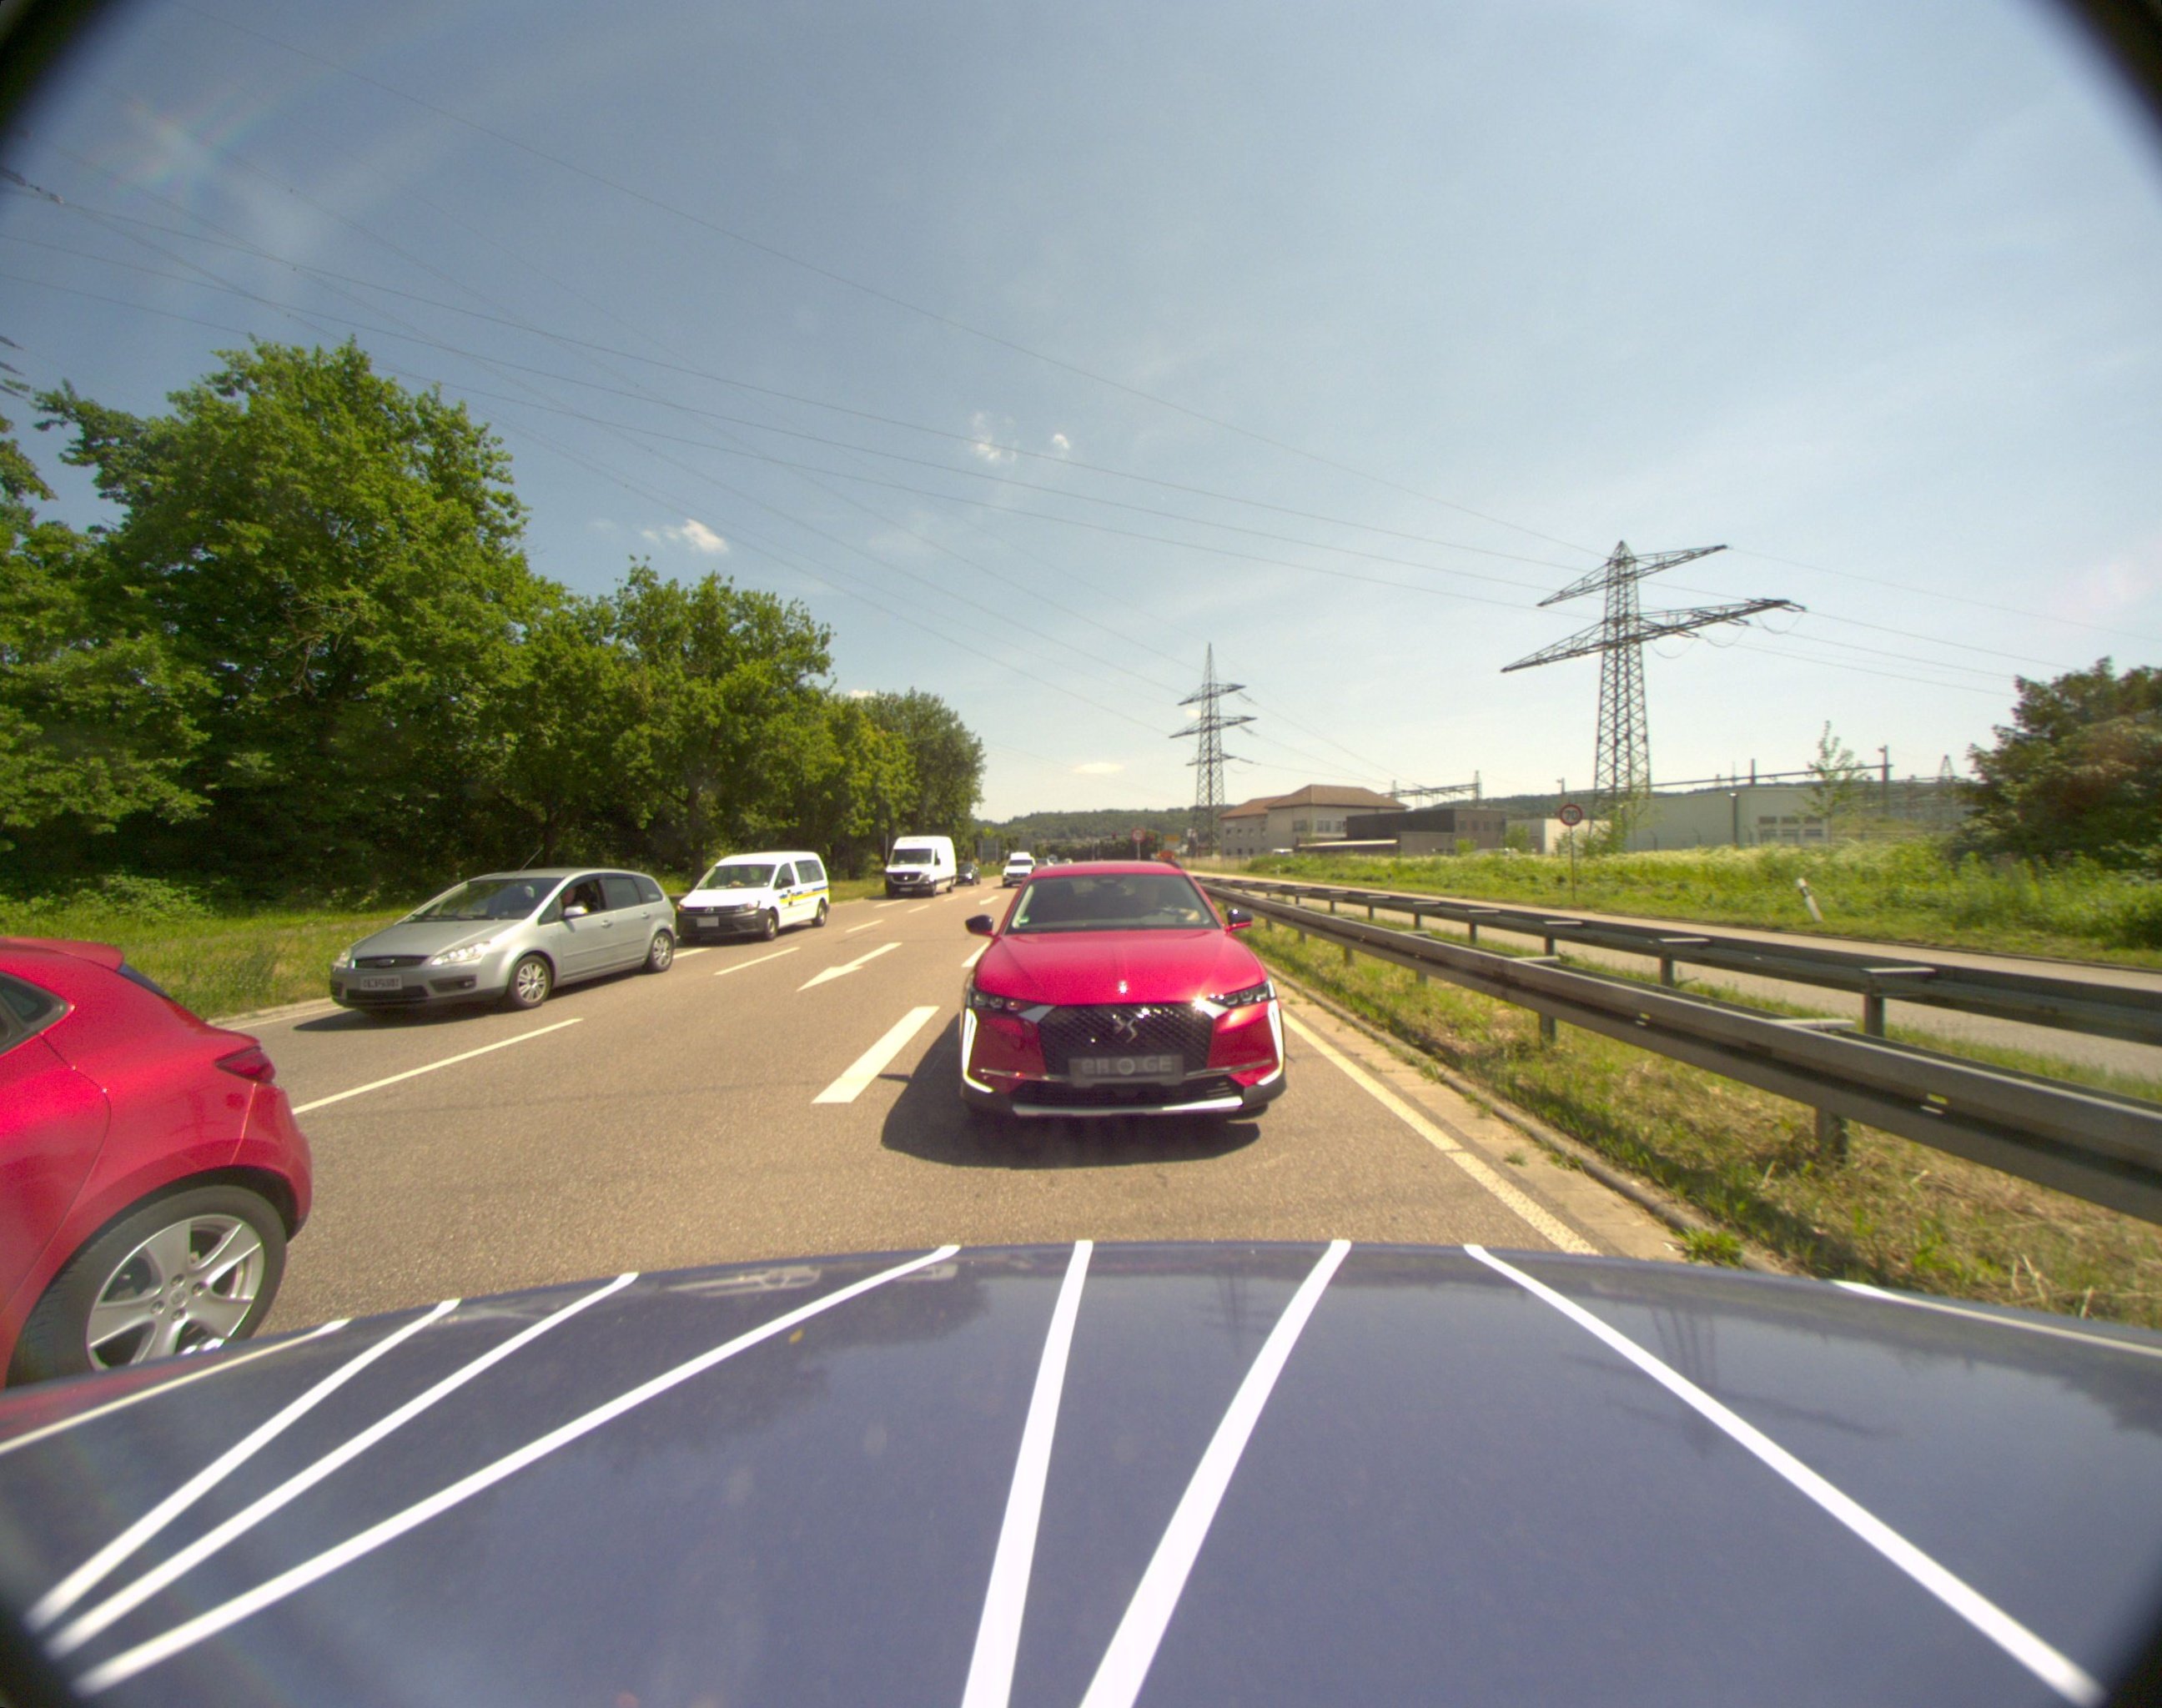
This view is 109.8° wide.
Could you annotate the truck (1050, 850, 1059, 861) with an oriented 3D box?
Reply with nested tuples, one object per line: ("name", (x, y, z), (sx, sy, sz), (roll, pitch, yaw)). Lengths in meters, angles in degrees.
("truck", (-6.504, 0.383, 189.501), (2.170, 2.428, 4.909), (-2, 1, -2))

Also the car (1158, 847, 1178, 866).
("car", (14.328, 0.411, 125.714), (2.607, 3.043, 5.638), (0, 0, 0))

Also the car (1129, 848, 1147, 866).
("car", (9.709, 0.462, 130.079), (2.607, 3.043, 5.638), (0, 0, 0))

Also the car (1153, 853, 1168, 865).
("car", (14.152, 0.923, 135.195), (1.999, 1.904, 3.998), (-2, 1, -3))

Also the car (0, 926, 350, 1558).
("car", (-3.536, 1.018, 0.687), (1.747, 1.453, 4.065), (-2, 0, 0))

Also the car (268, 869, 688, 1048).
("car", (-6.957, 1.057, 9.510), (1.747, 1.585, 4.272), (-2, 0, 1))

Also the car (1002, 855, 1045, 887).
("car", (-3.054, 0.894, 41.051), (1.850, 1.559, 4.363), (-2, 0, 1))

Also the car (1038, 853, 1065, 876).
("car", (-2.336, 0.831, 61.439), (2.022, 1.671, 3.999), (-2, 0, -1))

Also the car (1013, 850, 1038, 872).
("car", (-6.364, 0.757, 87.422), (2.308, 2.408, 5.814), (-2, 0, 1))

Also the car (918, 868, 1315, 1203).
("car", (0.198, 0.913, 5.839), (1.846, 1.453, 4.414), (-2, 0, 1))

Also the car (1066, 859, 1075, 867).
("car", (-2.421, 1.918, 169.288), (1.878, 1.674, 3.998), (-2, 1, -2))

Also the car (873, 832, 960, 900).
("car", (-7.027, 0.466, 33.401), (2.232, 2.592, 7.018), (-2, 0, 0))

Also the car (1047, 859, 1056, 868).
("car", (-6.275, 2.016, 163.558), (1.878, 1.674, 3.998), (-2, 1, -2))

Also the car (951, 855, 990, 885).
("car", (-6.743, 0.936, 46.670), (1.878, 1.674, 3.998), (-2, 1, -2))

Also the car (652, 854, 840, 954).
("car", (-6.984, 0.924, 16.555), (1.809, 1.790, 5.037), (-2, 0, 0))
